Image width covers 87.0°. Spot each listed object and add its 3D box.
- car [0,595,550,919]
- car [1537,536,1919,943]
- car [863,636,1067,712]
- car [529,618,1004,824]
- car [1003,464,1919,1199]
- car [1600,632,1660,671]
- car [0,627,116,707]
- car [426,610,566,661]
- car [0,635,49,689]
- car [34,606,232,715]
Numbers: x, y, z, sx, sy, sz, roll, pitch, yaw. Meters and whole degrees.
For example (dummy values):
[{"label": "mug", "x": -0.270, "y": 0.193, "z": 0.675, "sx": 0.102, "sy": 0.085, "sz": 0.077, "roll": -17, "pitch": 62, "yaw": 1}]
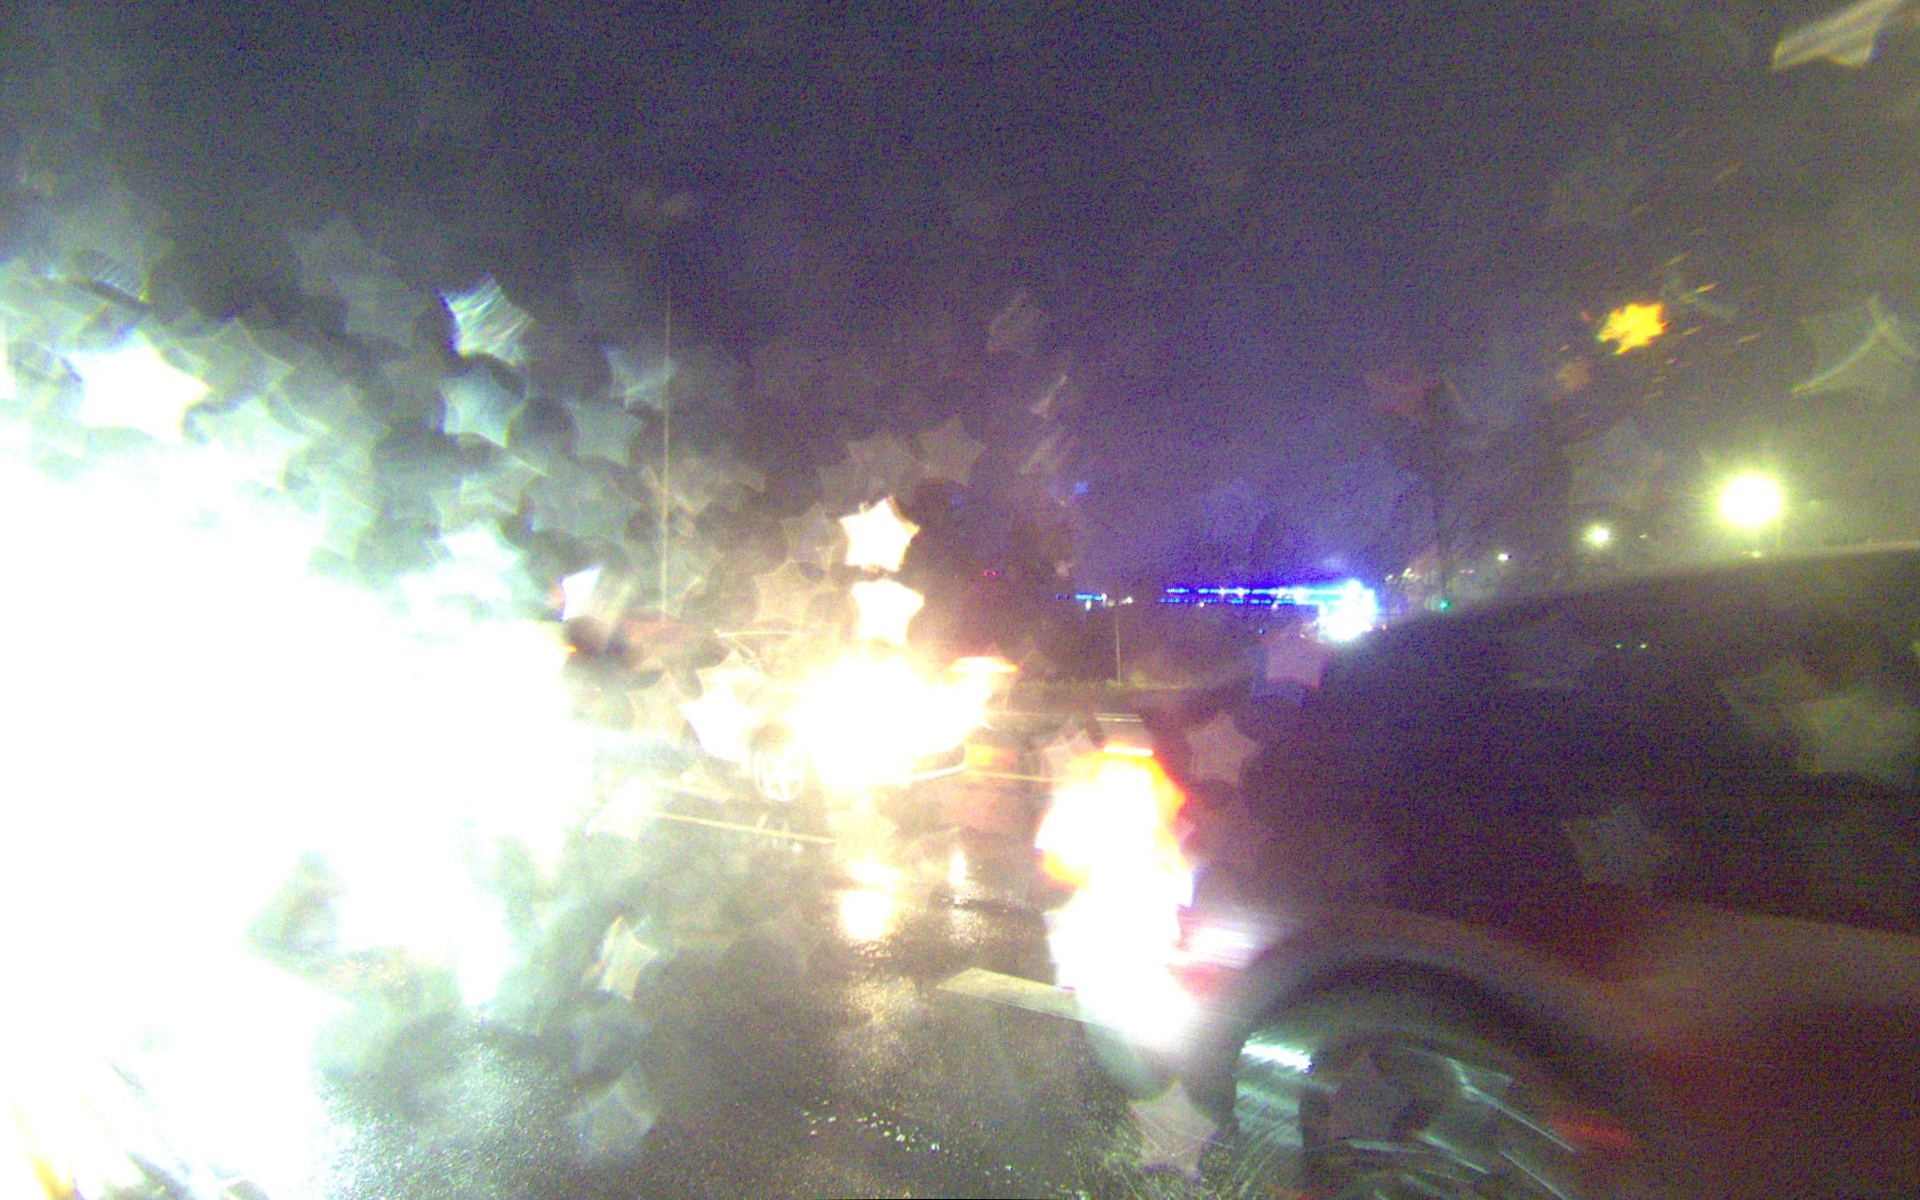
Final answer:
[{"label": "car", "x": -4.814, "y": 0.790, "z": 6.899, "sx": 4.012, "sy": 1.603, "sz": 1.835, "roll": 0, "pitch": 0, "yaw": 34}, {"label": "car", "x": 4.972, "y": 0.585, "z": 4.603, "sx": 3.975, "sy": 1.671, "sz": 1.894, "roll": 0, "pitch": -1, "yaw": 34}, {"label": "car", "x": 0.056, "y": 1.413, "z": 20.298, "sx": 3.871, "sy": 1.306, "sz": 1.618, "roll": 0, "pitch": 0, "yaw": 34}, {"label": "car", "x": -1.864, "y": 0.925, "z": 9.071, "sx": 4.281, "sy": 1.447, "sz": 1.721, "roll": -2, "pitch": -2, "yaw": 36}, {"label": "car", "x": 2.468, "y": 0.654, "z": 2.061, "sx": 4.464, "sy": 1.666, "sz": 1.814, "roll": -2, "pitch": -4, "yaw": 32}, {"label": "car", "x": 39.483, "y": 3.033, "z": 59.753, "sx": 1.647, "sy": 2.095, "sz": 3.983, "roll": -1, "pitch": 0, "yaw": 13}, {"label": "car", "x": -21.015, "y": 1.458, "z": 23.193, "sx": 4.232, "sy": 1.607, "sz": 1.766, "roll": -1, "pitch": 0, "yaw": 39}, {"label": "car", "x": -13.868, "y": 1.070, "z": 30.190, "sx": 4.460, "sy": 1.447, "sz": 1.722, "roll": -2, "pitch": -2, "yaw": 34}, {"label": "car", "x": -28.685, "y": 1.816, "z": 30.259, "sx": 4.172, "sy": 1.456, "sz": 1.658, "roll": -1, "pitch": 0, "yaw": 41}, {"label": "car", "x": -15.758, "y": 1.035, "z": 19.201, "sx": 4.716, "sy": 1.807, "sz": 1.974, "roll": -1, "pitch": 0, "yaw": 39}]
